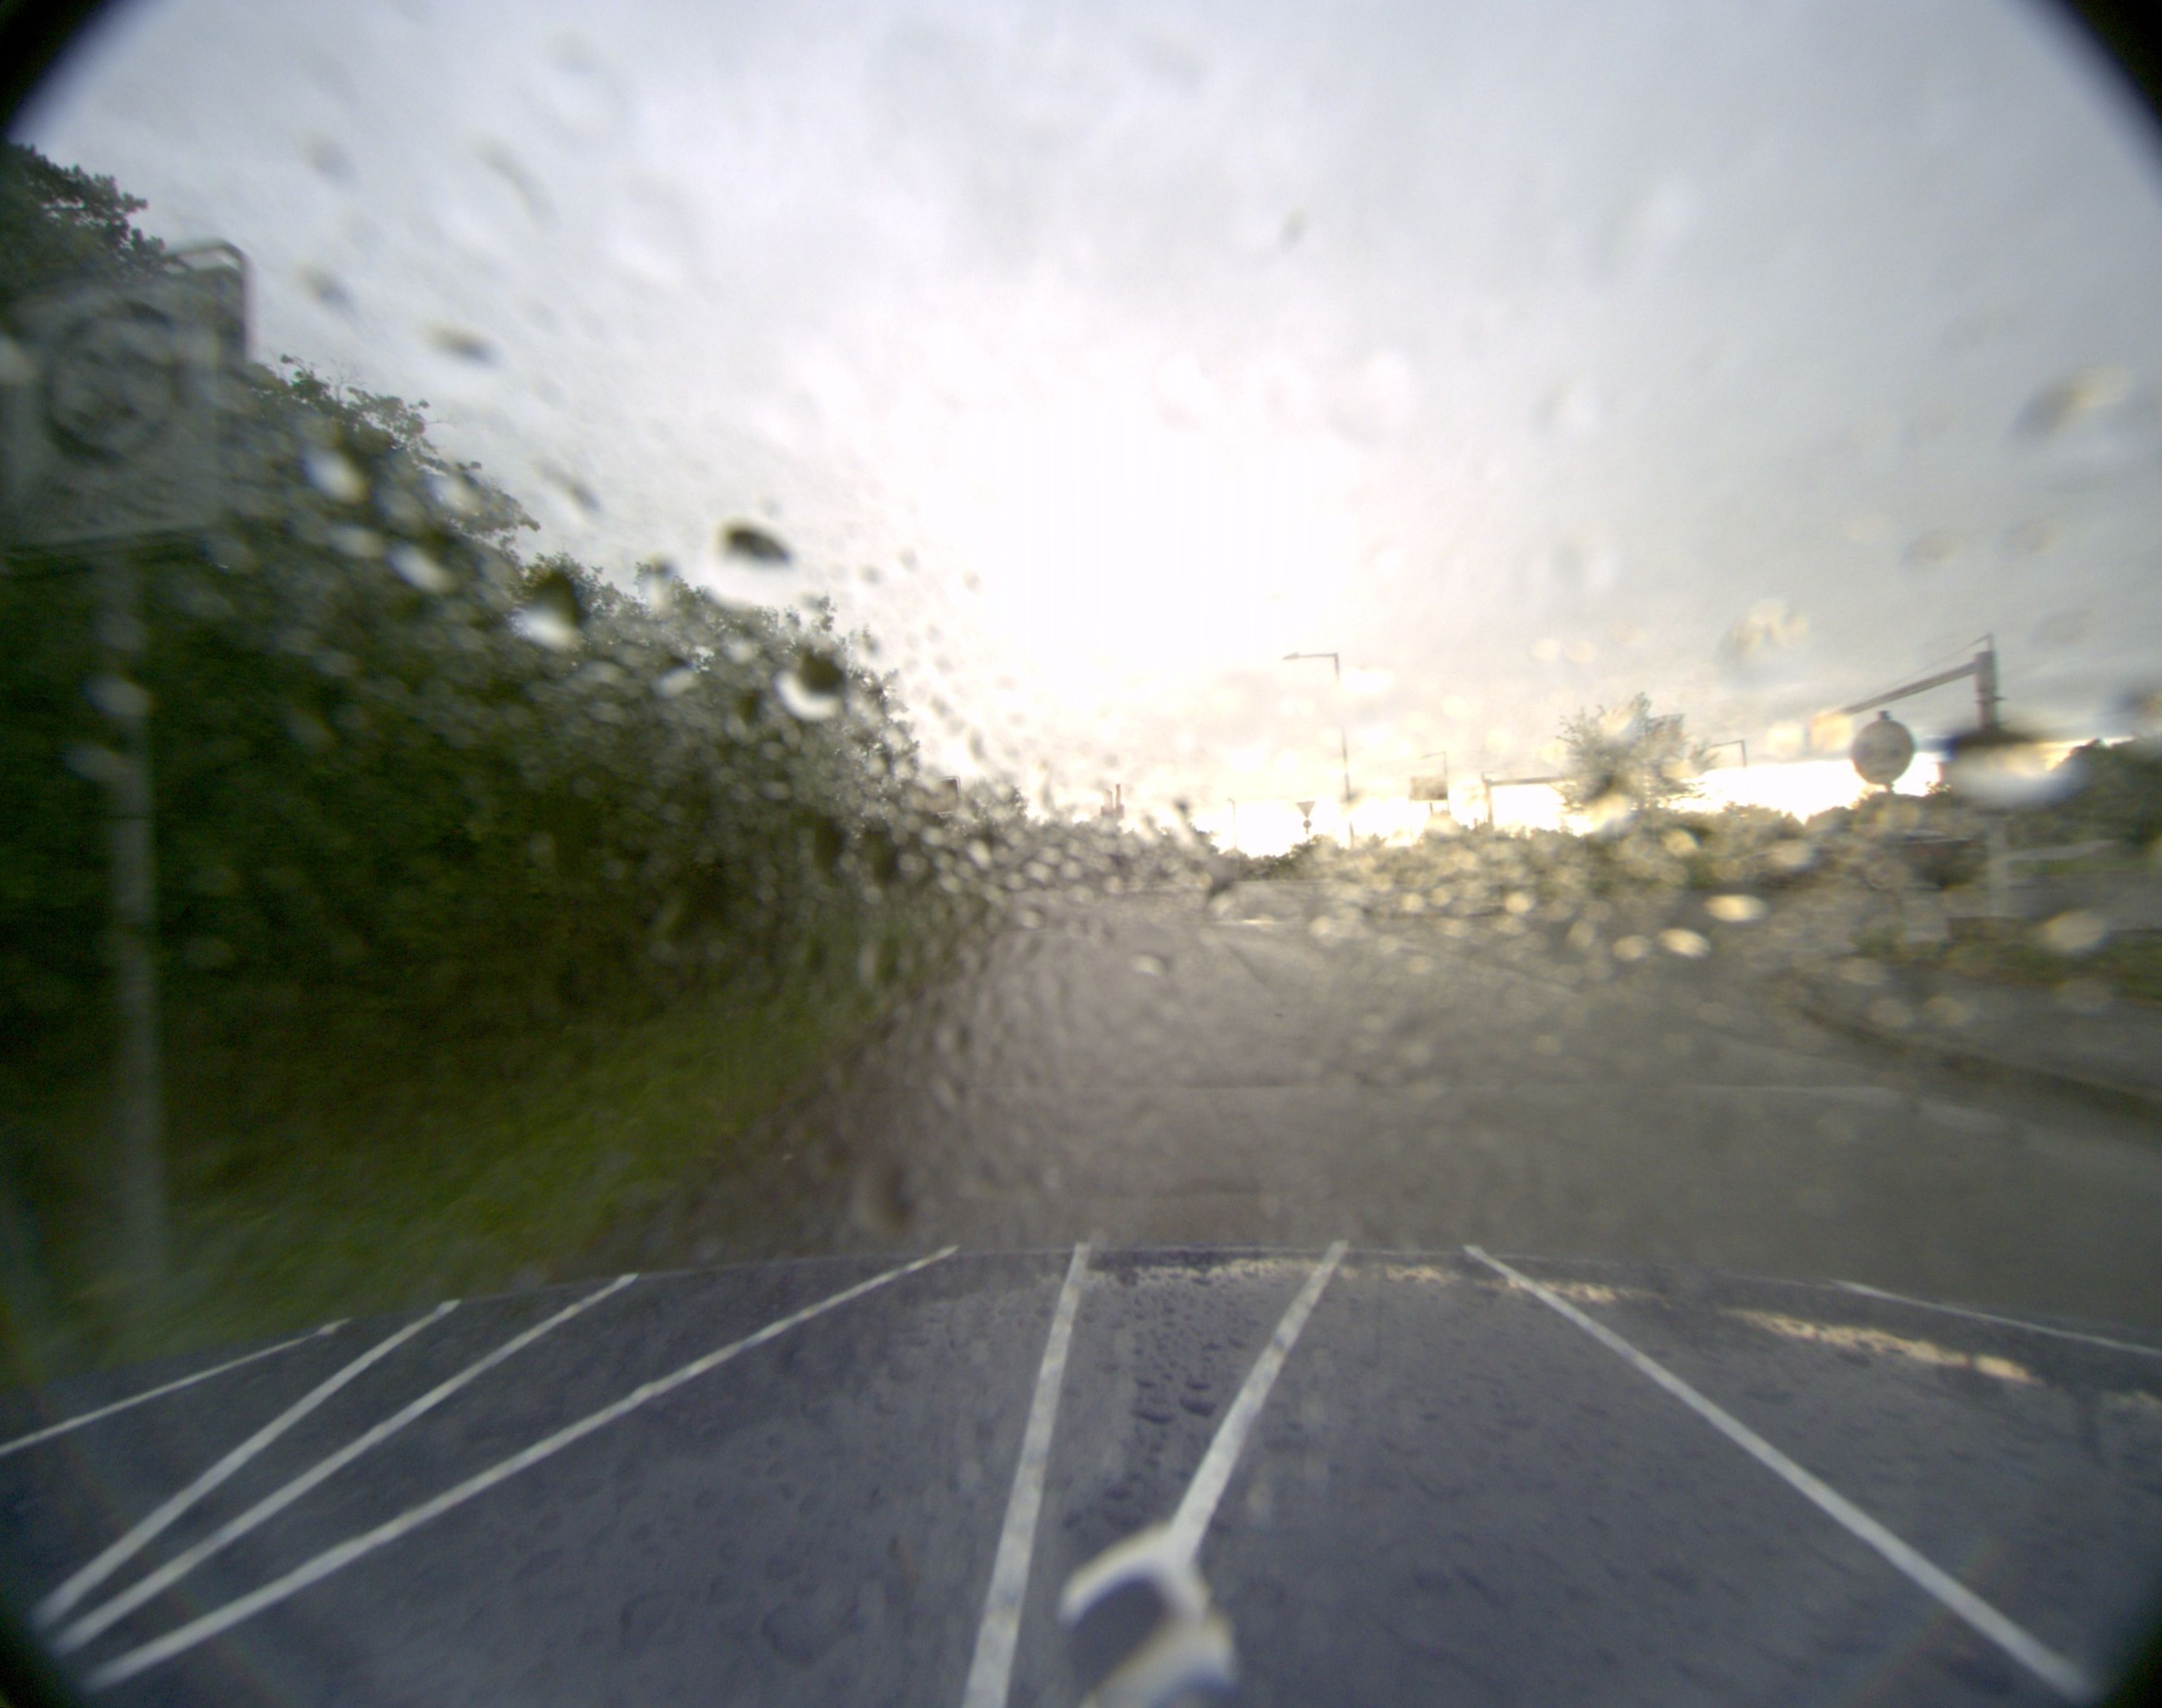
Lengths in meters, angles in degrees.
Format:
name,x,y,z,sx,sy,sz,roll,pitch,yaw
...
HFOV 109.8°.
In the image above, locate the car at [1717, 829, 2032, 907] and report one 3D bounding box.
name,x,y,z,sx,sy,sz,roll,pitch,yaw
car,16.807,0.323,16.514,1.999,1.406,4.427,-2,-1,-5
